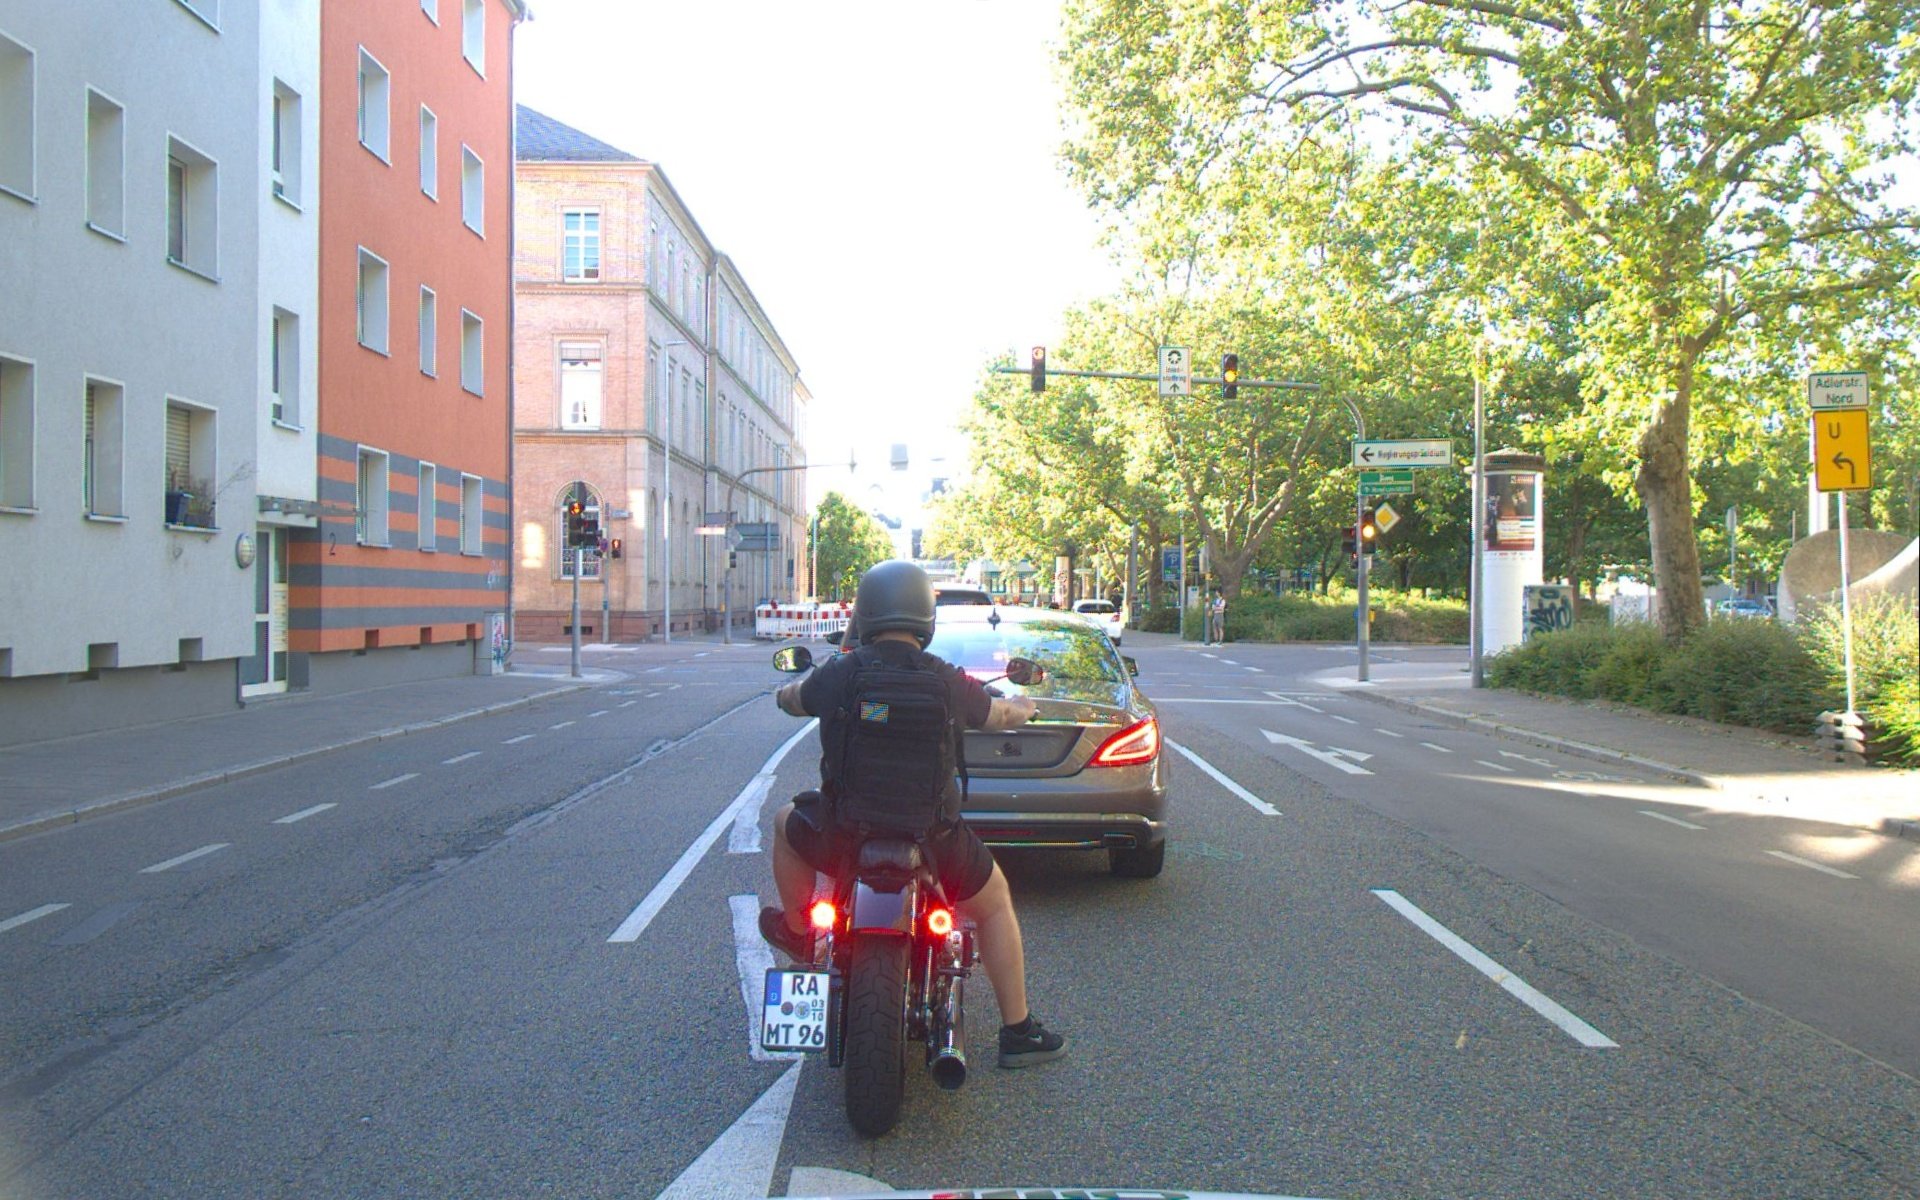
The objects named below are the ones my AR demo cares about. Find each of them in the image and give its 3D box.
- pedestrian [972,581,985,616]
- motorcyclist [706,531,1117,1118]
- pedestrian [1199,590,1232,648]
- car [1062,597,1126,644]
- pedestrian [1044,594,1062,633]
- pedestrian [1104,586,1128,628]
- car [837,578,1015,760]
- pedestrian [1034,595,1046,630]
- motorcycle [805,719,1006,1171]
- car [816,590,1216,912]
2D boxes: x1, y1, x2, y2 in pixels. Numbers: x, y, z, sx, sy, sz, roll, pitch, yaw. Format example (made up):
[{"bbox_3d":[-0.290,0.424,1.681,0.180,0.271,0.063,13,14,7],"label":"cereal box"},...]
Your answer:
[{"bbox_3d":[1.144,-0.097,100.840,0.748,2.087,0.712,1,-1,-1],"label":"pedestrian"},{"bbox_3d":[-0.142,0.632,5.279,1.125,1.626,1.288,1,0,-1],"label":"motorcyclist"},{"bbox_3d":[8.272,0.610,53.648,0.980,1.858,1.077,1,0,5],"label":"pedestrian"},{"bbox_3d":[4.367,0.647,54.286,1.740,1.453,3.801,0,0,-1],"label":"car"},{"bbox_3d":[4.917,0.706,87.508,0.797,2.049,1.270,1,0,-1],"label":"pedestrian"},{"bbox_3d":[7.326,0.312,77.594,0.741,1.943,0.917,1,-1,-29],"label":"pedestrian"},{"bbox_3d":[-0.331,0.606,16.725,1.588,1.622,3.999,0,0,-1],"label":"car"},{"bbox_3d":[4.722,0.746,97.944,0.643,2.049,0.933,1,-1,-1],"label":"pedestrian"},{"bbox_3d":[-0.154,0.961,5.265,0.503,1.020,2.013,1,0,-1],"label":"motorcycle"},{"bbox_3d":[0.235,0.694,9.617,1.844,1.475,3.819,1,0,-1],"label":"car"}]
